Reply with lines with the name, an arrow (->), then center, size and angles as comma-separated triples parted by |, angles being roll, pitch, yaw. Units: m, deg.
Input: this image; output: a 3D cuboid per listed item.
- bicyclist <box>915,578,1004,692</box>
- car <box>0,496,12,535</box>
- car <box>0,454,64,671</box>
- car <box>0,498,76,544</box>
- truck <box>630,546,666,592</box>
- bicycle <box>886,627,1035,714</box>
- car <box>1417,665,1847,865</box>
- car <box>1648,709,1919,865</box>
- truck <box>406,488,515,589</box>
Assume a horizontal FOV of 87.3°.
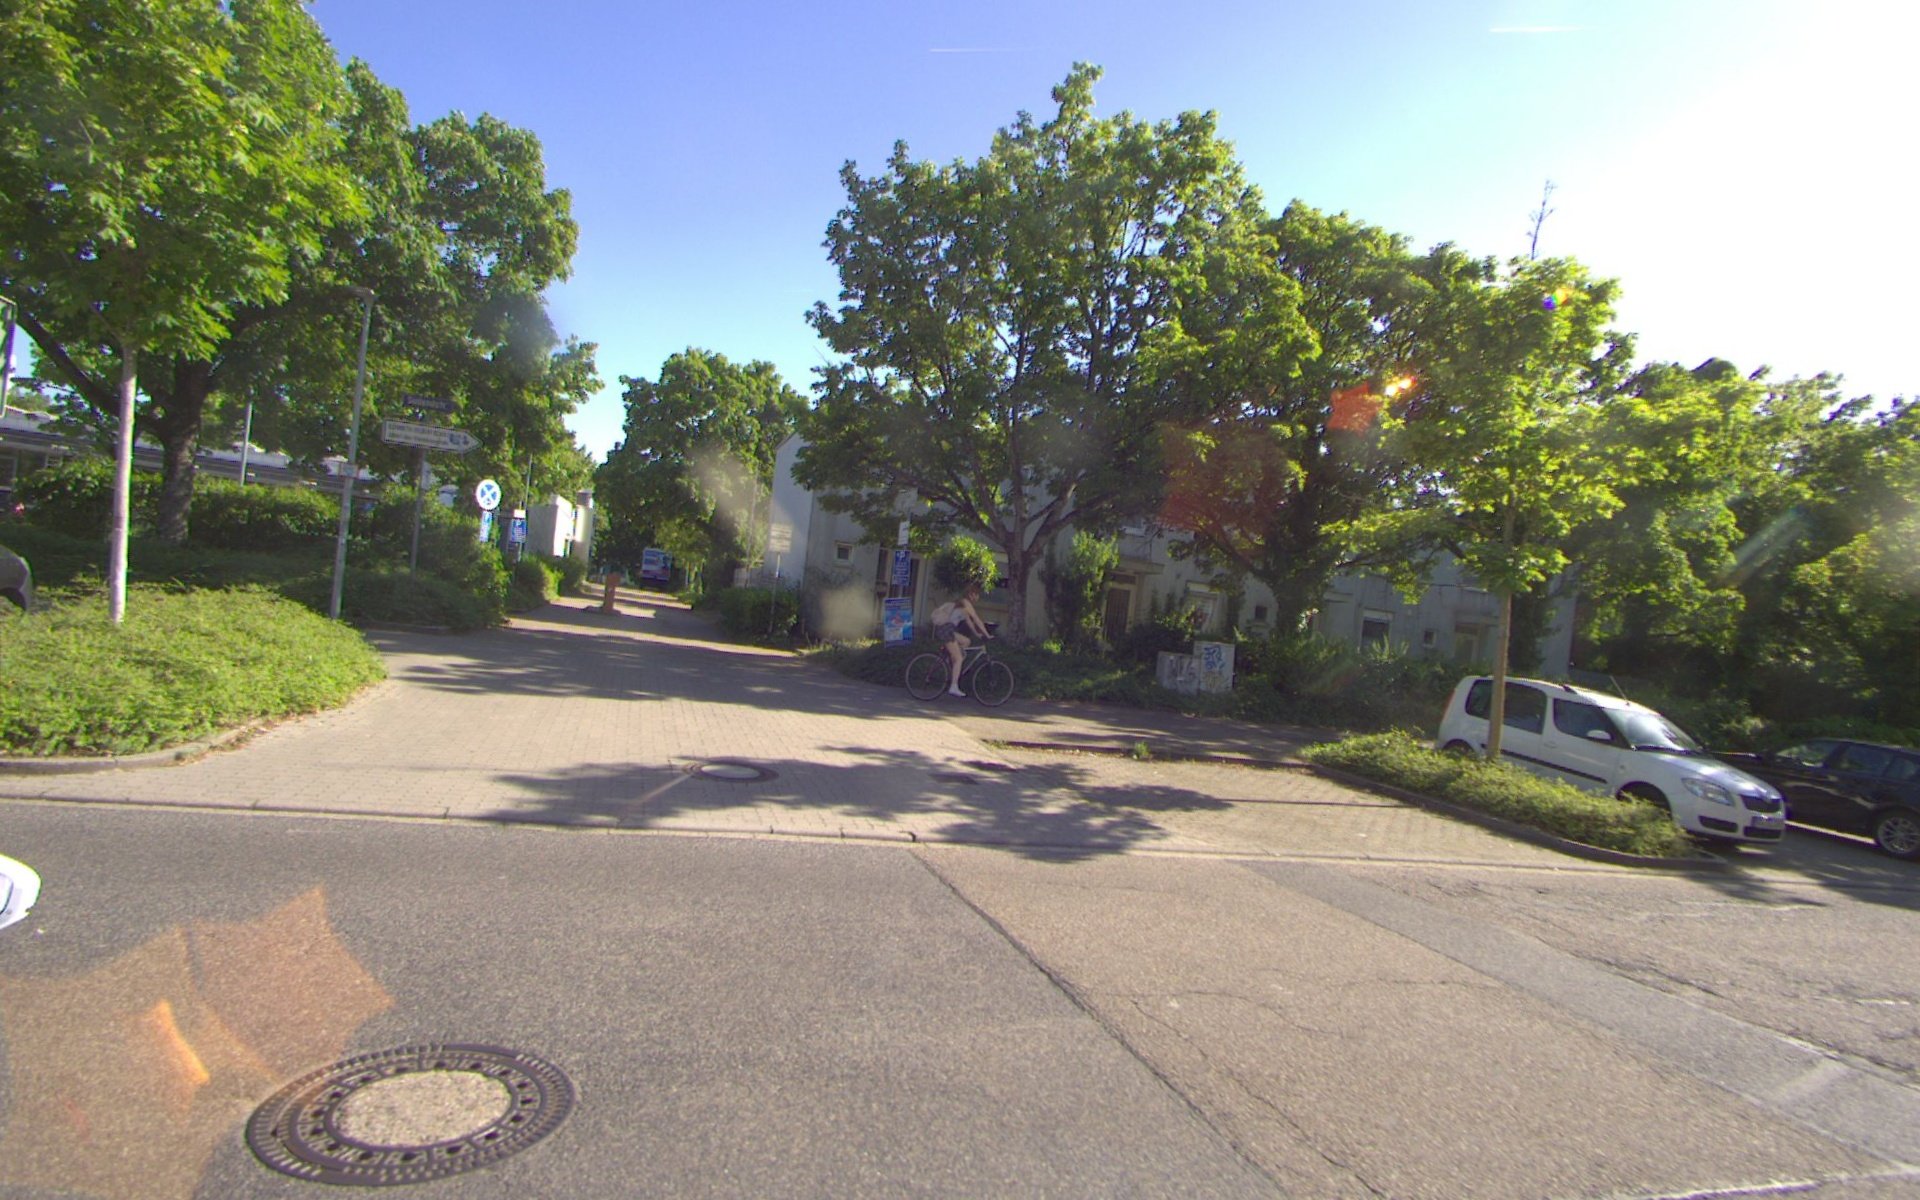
bicyclist -> -0.015, 0.519, 15.064 | 1.001, 1.542, 0.593 | 8, 0, -21
car -> -38.678, -3.426, 38.457 | 1.814, 1.516, 3.894 | 7, 0, -16
car -> -8.723, -0.357, 7.149 | 1.852, 1.870, 4.150 | 7, 1, -18
car -> -36.743, -3.129, 39.219 | 1.814, 1.516, 3.894 | 7, 0, -16
truck -> -30.774, -3.026, 99.158 | 2.729, 3.915, 9.294 | 8, -1, -17
bicycle -> 0.016, 1.061, 15.102 | 2.060, 1.007, 0.593 | 8, 0, -21
car -> 8.192, 1.942, 12.795 | 1.803, 1.618, 4.148 | 7, 1, -20
car -> 12.412, 2.625, 14.147 | 1.803, 1.424, 4.148 | 7, 1, -20
truck -> -22.478, -2.643, 45.660 | 2.770, 3.852, 6.901 | 8, -1, -16
